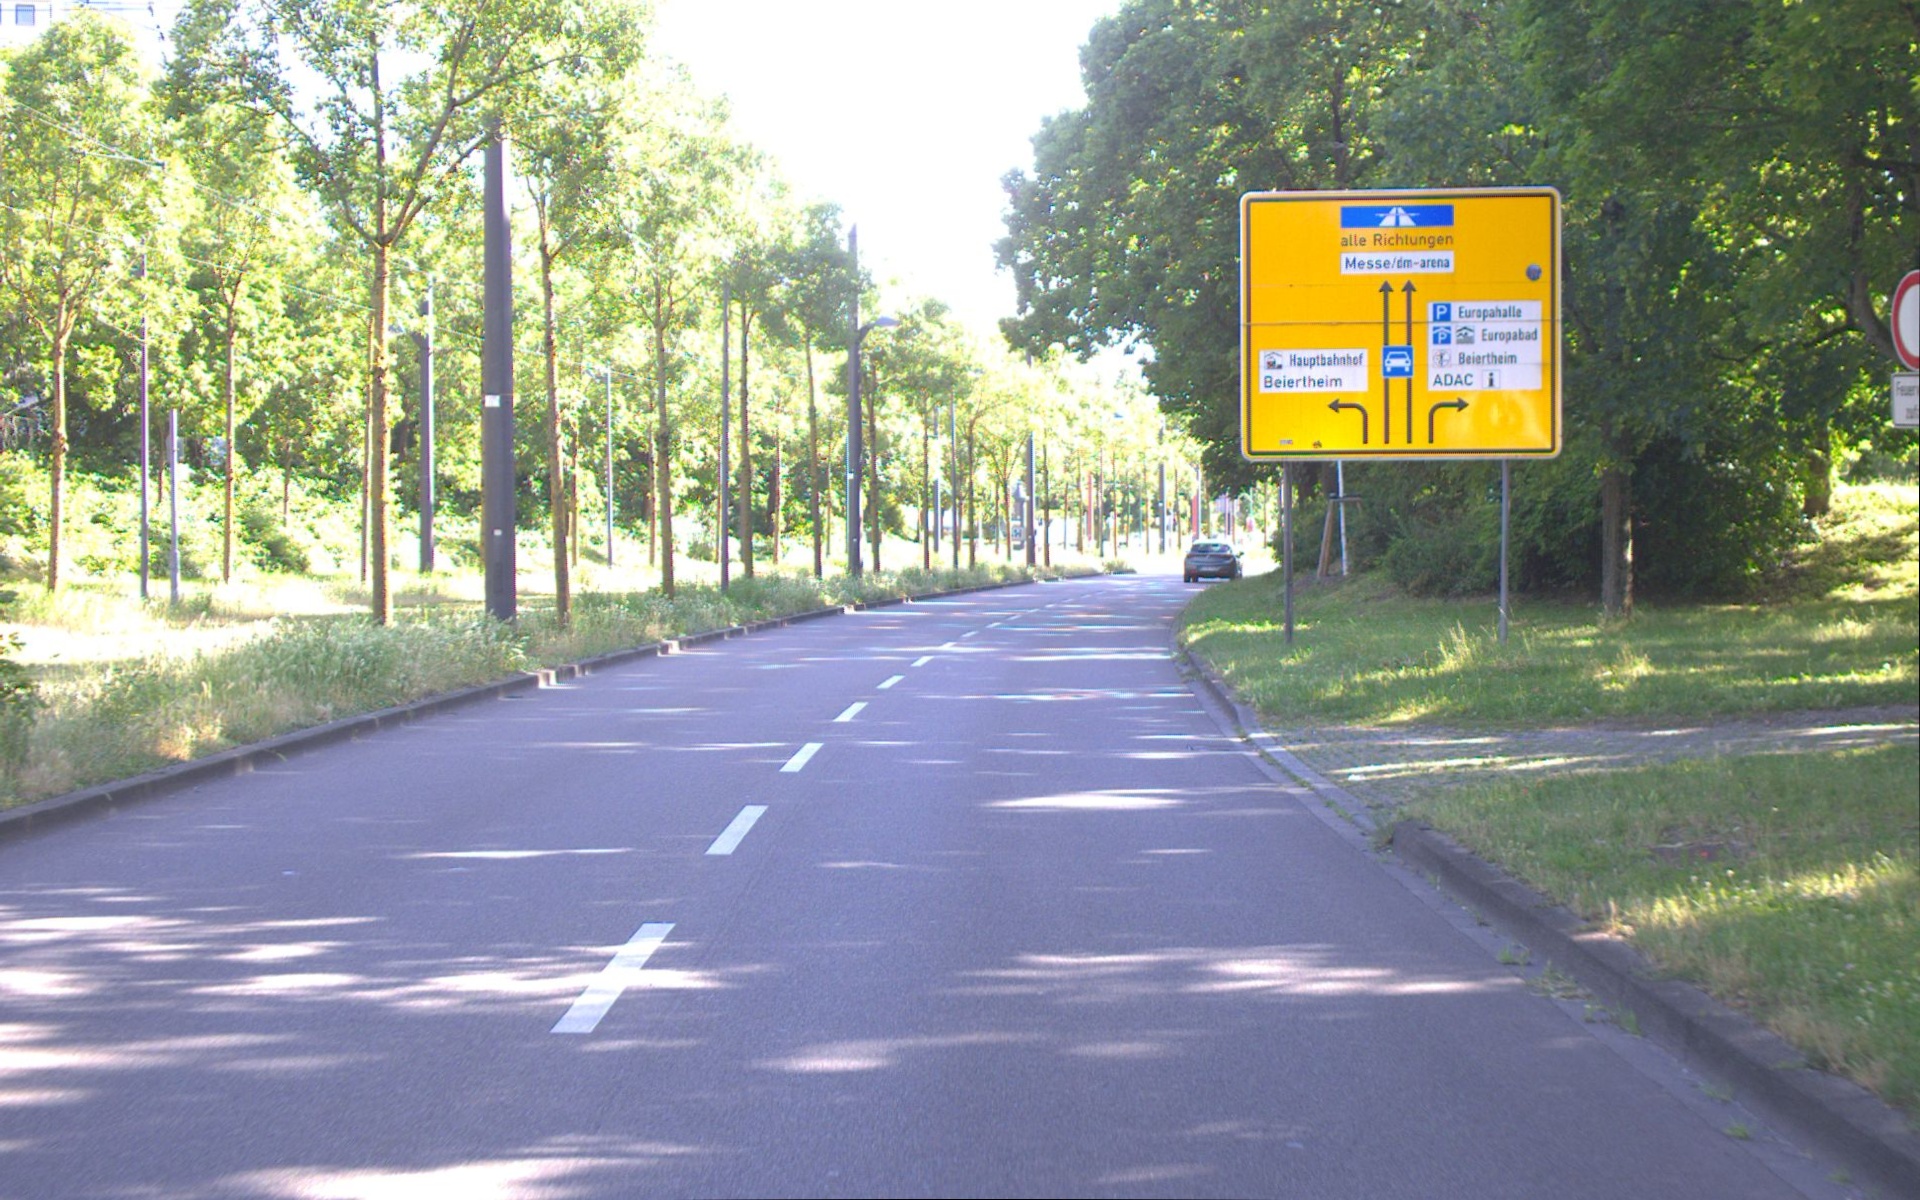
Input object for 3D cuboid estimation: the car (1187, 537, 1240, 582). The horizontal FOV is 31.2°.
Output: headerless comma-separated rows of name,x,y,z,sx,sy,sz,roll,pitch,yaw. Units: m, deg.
car,8.673,-1.397,117.454,1.634,1.493,4.234,1,1,6
